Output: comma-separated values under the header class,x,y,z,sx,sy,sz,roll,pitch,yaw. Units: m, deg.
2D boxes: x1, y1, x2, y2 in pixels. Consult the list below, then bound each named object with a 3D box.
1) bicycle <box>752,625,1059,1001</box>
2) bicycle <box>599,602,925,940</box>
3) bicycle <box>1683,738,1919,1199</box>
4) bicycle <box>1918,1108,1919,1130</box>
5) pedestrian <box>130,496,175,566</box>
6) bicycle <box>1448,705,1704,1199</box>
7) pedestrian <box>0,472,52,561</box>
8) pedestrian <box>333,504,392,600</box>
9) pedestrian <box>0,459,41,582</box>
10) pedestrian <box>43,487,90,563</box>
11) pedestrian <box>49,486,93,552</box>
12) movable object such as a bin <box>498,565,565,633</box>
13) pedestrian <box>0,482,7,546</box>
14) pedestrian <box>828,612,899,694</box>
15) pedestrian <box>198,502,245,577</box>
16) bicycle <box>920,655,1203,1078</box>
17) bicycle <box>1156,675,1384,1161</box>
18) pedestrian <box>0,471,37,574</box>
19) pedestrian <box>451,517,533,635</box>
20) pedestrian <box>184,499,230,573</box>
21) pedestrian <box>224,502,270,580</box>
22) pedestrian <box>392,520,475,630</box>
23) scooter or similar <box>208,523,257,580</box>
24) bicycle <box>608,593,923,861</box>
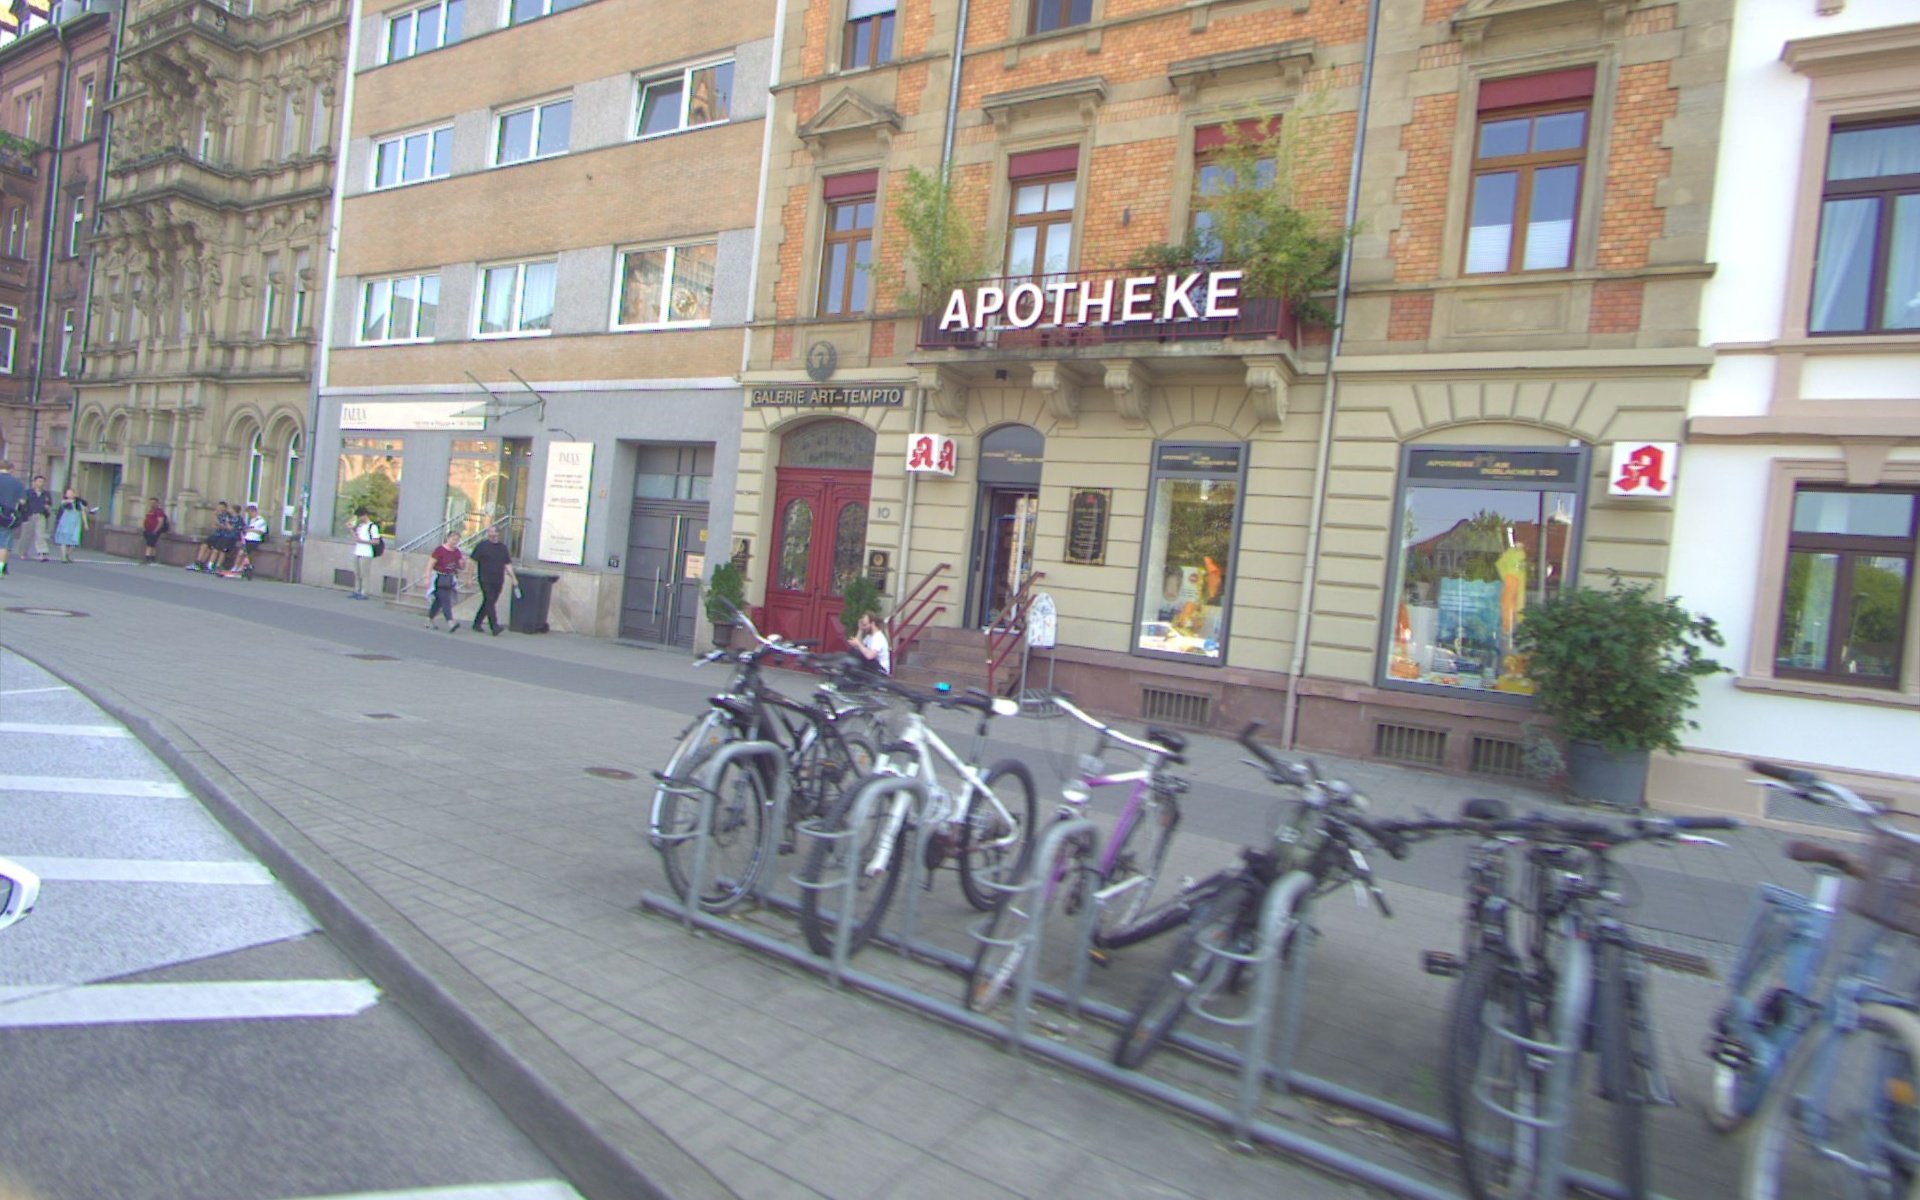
class,x,y,z,sx,sy,sz,roll,pitch,yaw
bicycle,-0.119,0.720,4.009,0.378,1.163,1.636,6,0,26
bicycle,-0.753,0.645,4.357,0.378,1.163,1.636,6,0,26
bicycle,2.441,1.041,2.735,0.378,1.163,1.636,6,0,26
bicycle,3.004,1.121,2.451,0.378,1.163,1.636,6,0,26
pedestrian,-20.415,-1.731,25.440,0.577,1.675,0.604,7,1,27
bicycle,1.755,0.958,3.040,0.378,1.163,1.636,6,0,26
pedestrian,-20.563,-1.838,22.032,1.054,1.827,0.617,6,1,32
pedestrian,-12.196,-0.966,20.537,0.729,1.855,0.604,7,1,27
pedestrian,-15.141,-1.270,15.647,0.787,1.855,0.927,7,1,27
pedestrian,-20.255,-1.701,22.798,0.799,1.630,0.486,6,1,32
pedestrian,-24.843,-2.252,28.102,0.679,1.741,0.630,7,1,30
movable object such as a bin,-7.442,-0.013,17.491,0.657,1.094,0.739,6,1,14
pedestrian,-26.843,-2.424,27.582,0.882,1.746,0.701,7,1,30
pedestrian,-1.282,0.698,13.317,0.608,0.994,0.629,5,1,-40
pedestrian,-17.939,-1.466,24.445,0.577,1.713,0.604,7,1,27
bicycle,0.460,0.801,3.666,0.378,1.163,1.636,6,0,26
bicycle,1.107,0.865,3.356,0.378,1.163,1.636,6,0,26
pedestrian,-16.986,-1.396,17.725,0.787,1.751,0.751,7,1,27
pedestrian,-7.656,-0.388,16.464,0.842,1.810,0.720,6,1,32
pedestrian,-18.518,-1.577,24.745,0.577,1.713,0.604,7,1,27
pedestrian,-17.013,-1.399,23.996,0.502,1.753,0.604,7,1,27
pedestrian,-8.351,-0.396,15.963,0.842,1.630,0.720,6,1,32
scooter or similar,-16.458,-1.091,22.756,1.132,1.178,0.360,7,1,28
bicycle,-0.955,0.620,5.361,0.592,1.163,1.634,7,0,32
